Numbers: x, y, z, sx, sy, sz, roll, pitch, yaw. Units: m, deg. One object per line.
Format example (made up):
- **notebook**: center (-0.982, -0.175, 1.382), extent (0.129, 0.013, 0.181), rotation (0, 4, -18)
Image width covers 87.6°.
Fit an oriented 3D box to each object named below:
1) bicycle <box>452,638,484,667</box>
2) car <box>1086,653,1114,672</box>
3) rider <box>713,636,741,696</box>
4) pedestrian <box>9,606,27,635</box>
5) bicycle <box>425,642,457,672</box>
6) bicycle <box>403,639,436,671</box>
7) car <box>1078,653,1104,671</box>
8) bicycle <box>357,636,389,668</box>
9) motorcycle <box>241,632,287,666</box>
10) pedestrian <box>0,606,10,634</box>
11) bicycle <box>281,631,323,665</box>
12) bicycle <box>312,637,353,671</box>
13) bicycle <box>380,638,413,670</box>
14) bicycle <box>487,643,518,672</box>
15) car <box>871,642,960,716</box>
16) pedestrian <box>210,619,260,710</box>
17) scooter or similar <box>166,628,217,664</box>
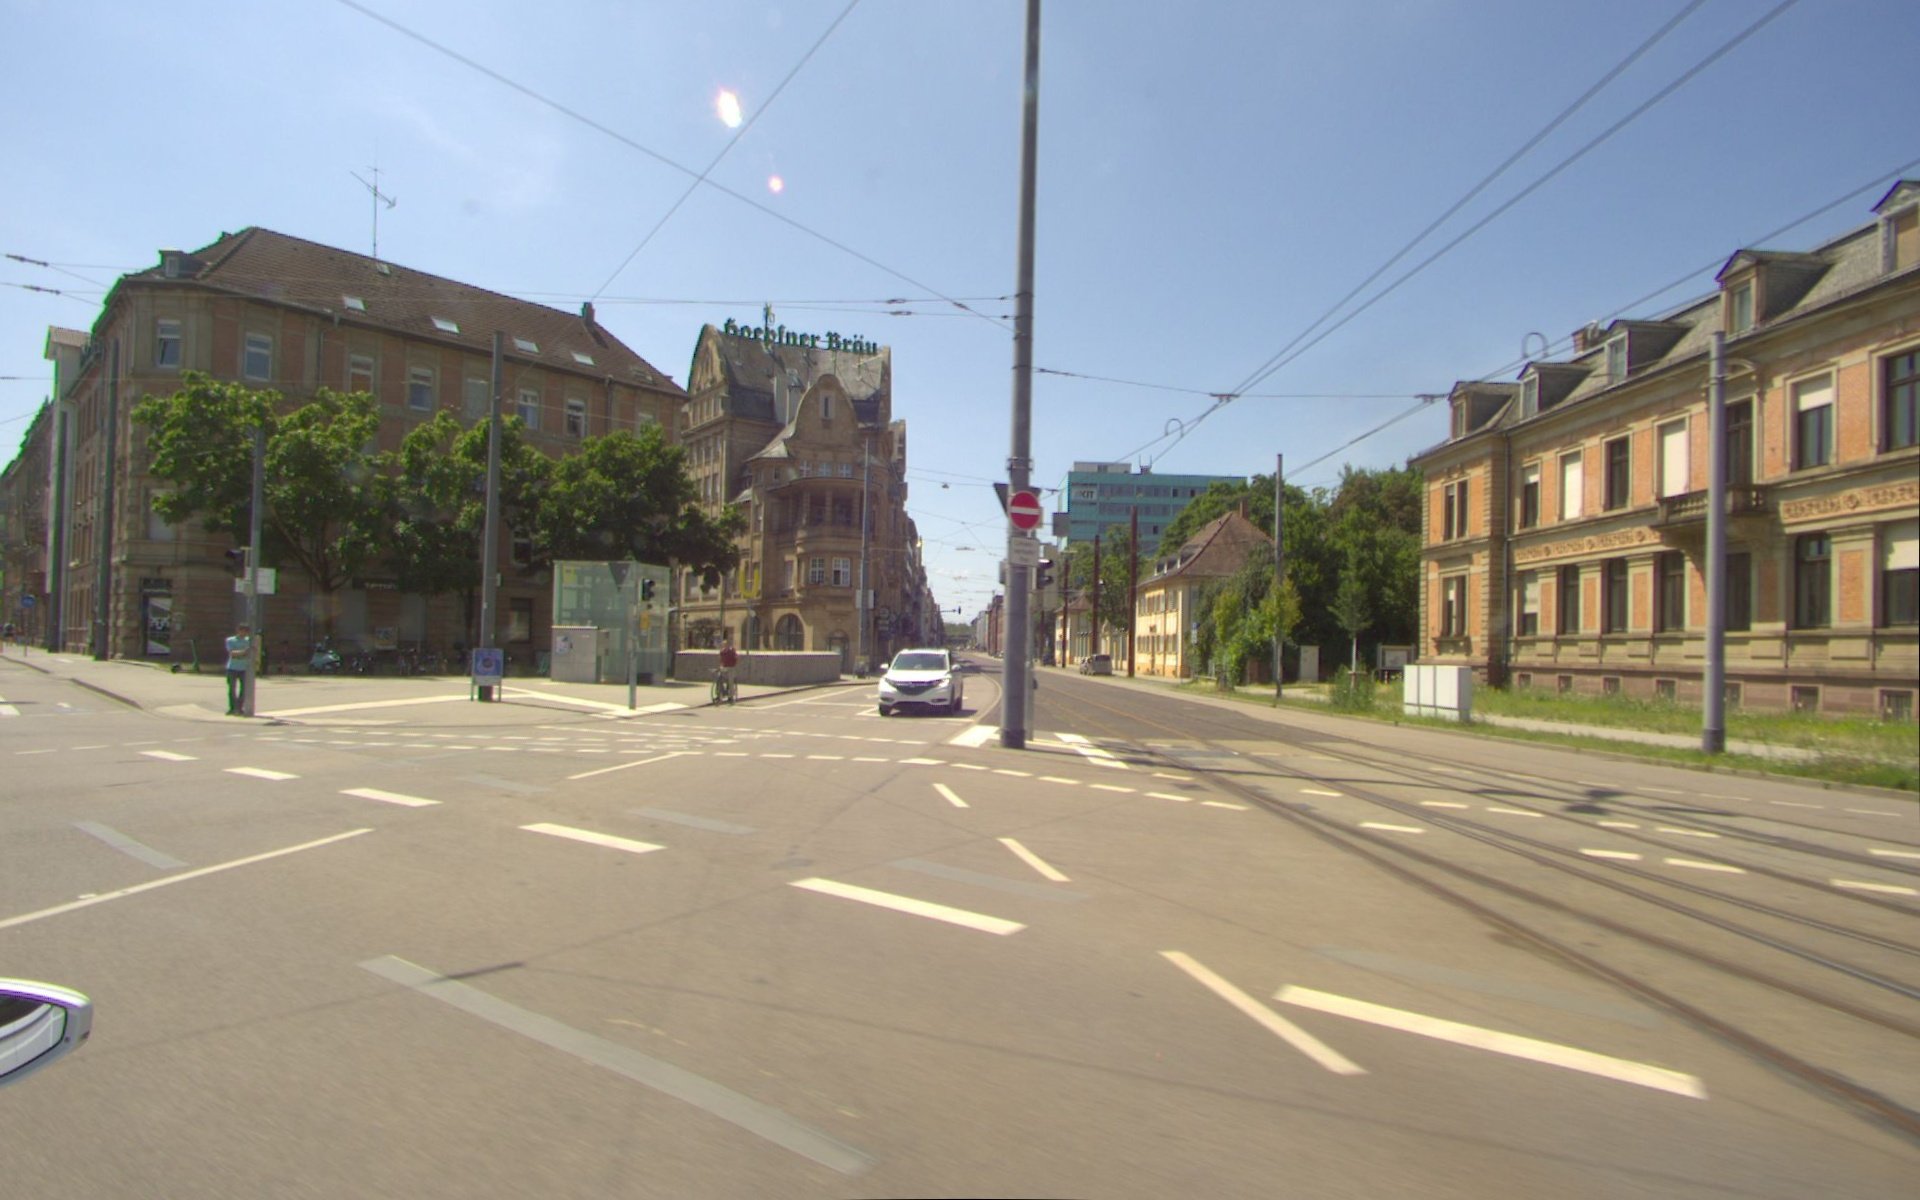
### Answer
- **bicycle**: center (-19.925, 2.124, 40.538), extent (0.548, 1.134, 1.910), rotation (4, -3, -45)
- **car**: center (11.997, 5.367, 85.957), extent (1.961, 1.470, 4.006), rotation (2, -5, 3)
- **rider**: center (-6.543, 1.847, 28.134), extent (0.553, 1.621, 0.876), rotation (2, -2, -3)
- **pedestrian**: center (-70.252, 1.535, 74.704), extent (0.656, 2.037, 0.765), rotation (-1, -5, 40)
- **bicycle**: center (-20.495, 2.245, 39.507), extent (0.548, 1.134, 1.851), rotation (4, -3, -45)
- **bicycle**: center (-20.655, 2.090, 38.228), extent (0.548, 1.134, 1.870), rotation (4, -3, -45)
- **car**: center (11.879, 5.691, 91.200), extent (1.961, 1.470, 4.006), rotation (2, -5, 3)
- **bicycle**: center (-21.746, 1.919, 37.074), extent (0.548, 1.134, 1.802), rotation (4, -3, -45)
- **motorcycle**: center (-23.824, 1.672, 34.277), extent (1.918, 1.088, 0.579), rotation (0, -2, 33)
- **pedestrian**: center (-70.853, 1.450, 73.967), extent (0.656, 2.037, 0.765), rotation (-1, -5, 40)
- **bicycle**: center (-23.143, 1.693, 35.209), extent (1.795, 1.134, 0.550), rotation (0, -2, 35)
- **bicycle**: center (-22.695, 1.951, 36.226), extent (2.066, 1.159, 0.441), rotation (-1, -5, 36)
- **bicycle**: center (-21.193, 2.022, 37.651), extent (0.548, 1.134, 1.802), rotation (4, -3, -45)
- **bicycle**: center (-19.116, 2.406, 41.845), extent (0.548, 1.134, 1.802), rotation (4, -3, -45)
- **car**: center (-1.014, 1.908, 24.974), extent (1.661, 1.625, 4.196), rotation (2, -2, 5)
- **pedestrian**: center (-14.071, 1.245, 19.434), extent (0.629, 1.729, 0.461), rotation (1, -2, 21)
- **scooter or similar**: center (-26.565, 1.573, 34.656), extent (0.588, 1.196, 1.792), rotation (2, -2, -10)
